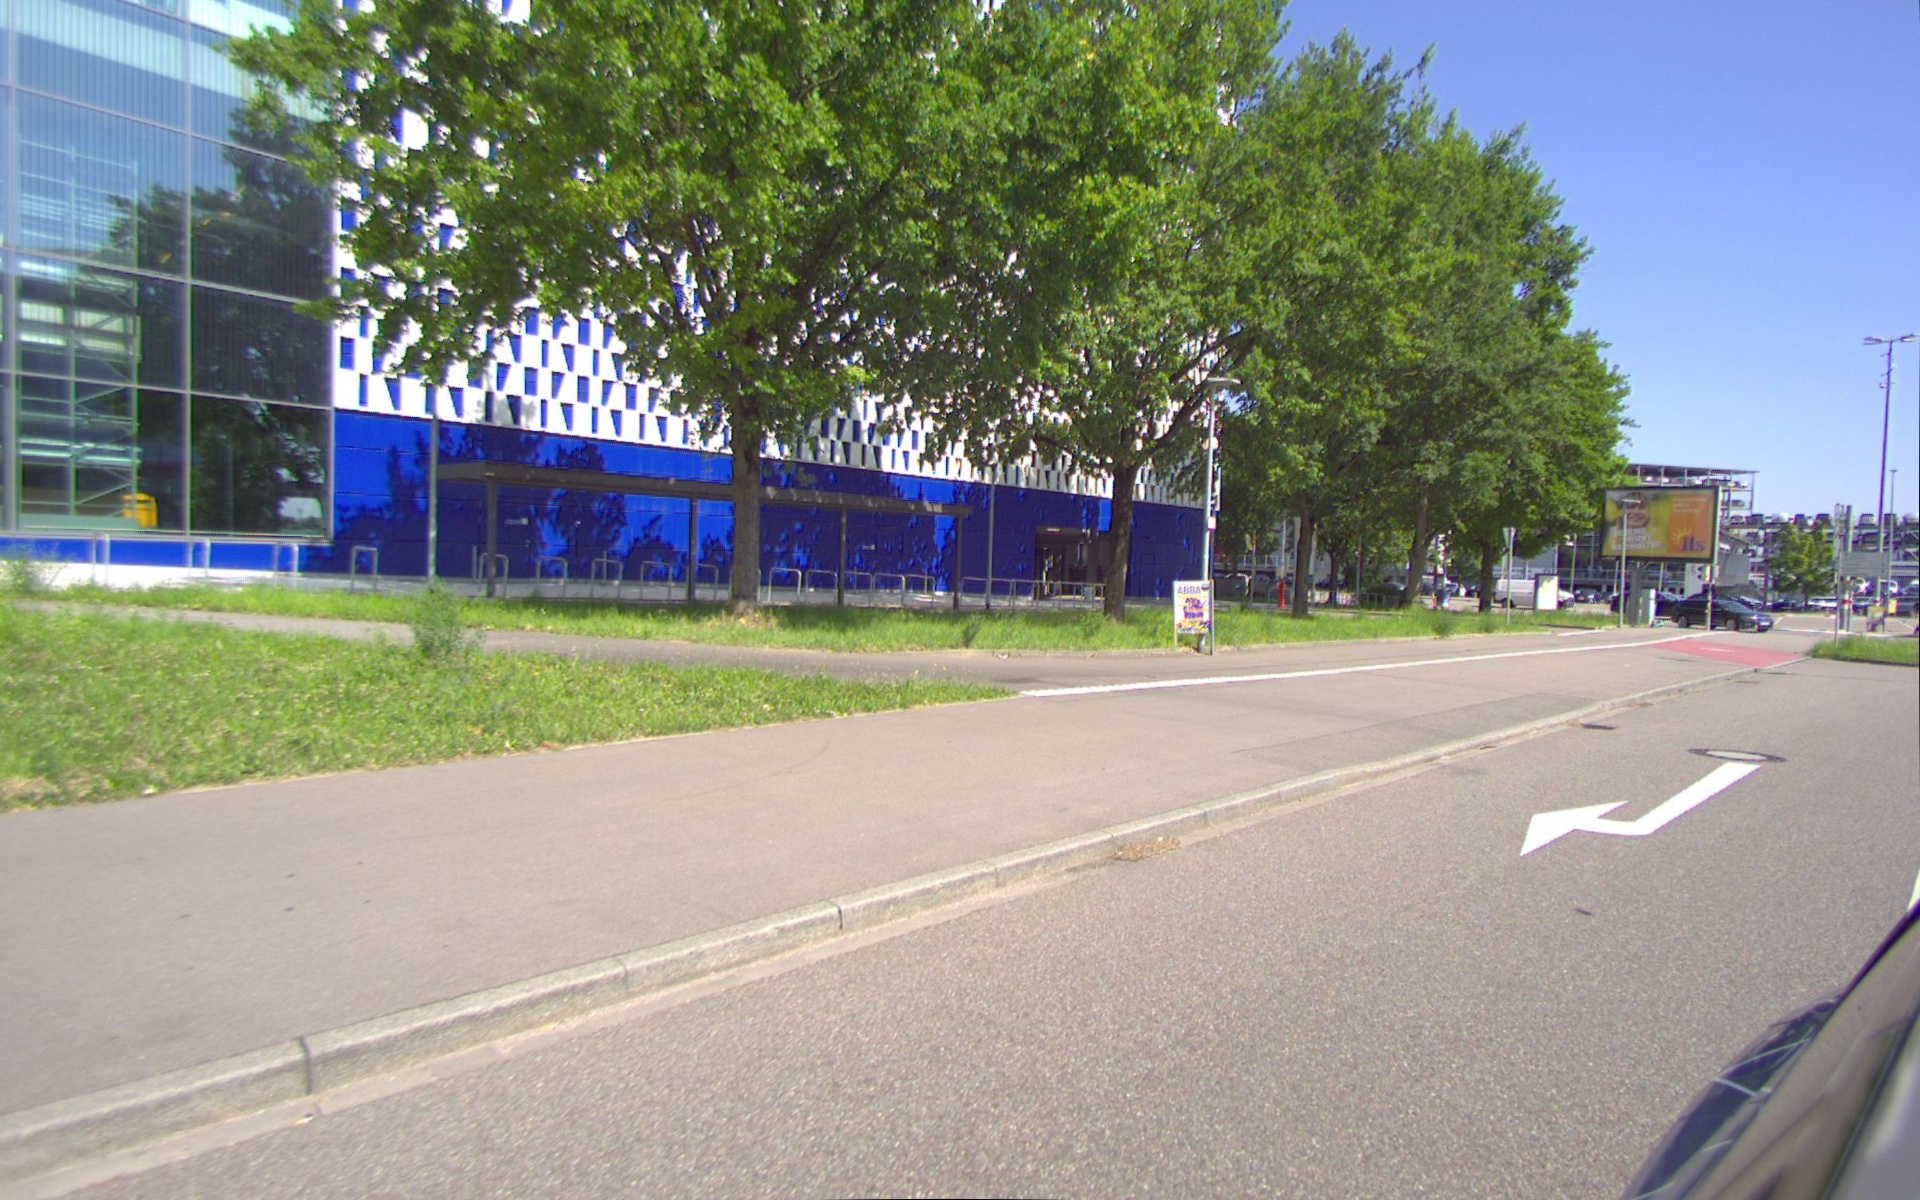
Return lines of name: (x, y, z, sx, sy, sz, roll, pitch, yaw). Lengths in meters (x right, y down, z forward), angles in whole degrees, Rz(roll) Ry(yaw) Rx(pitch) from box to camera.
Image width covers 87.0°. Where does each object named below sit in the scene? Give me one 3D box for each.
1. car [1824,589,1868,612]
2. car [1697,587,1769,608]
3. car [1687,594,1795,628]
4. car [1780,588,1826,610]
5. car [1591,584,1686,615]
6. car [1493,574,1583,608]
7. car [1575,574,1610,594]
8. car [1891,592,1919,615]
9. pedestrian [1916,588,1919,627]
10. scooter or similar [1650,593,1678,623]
car: (64.862, 0.004, 74.058, 3.931, 1.478, 1.886, -1, 3, -41)
car: (60.430, -0.214, 79.133, 4.337, 1.366, 1.793, 4, 3, 43)
car: (37.931, 0.501, 49.299, 1.736, 1.482, 4.244, 0, 2, -5)
car: (63.013, -0.092, 75.665, 3.930, 1.478, 1.998, 0, 3, -41)
car: (40.651, -0.044, 60.695, 4.488, 1.647, 1.689, 2, 3, 43)
car: (38.847, -0.662, 68.113, 4.984, 2.031, 1.714, 4, 4, 43)
car: (53.028, -1.311, 84.851, 1.881, 1.565, 3.830, 4, 3, 41)
car: (71.256, 0.295, 74.051, 1.947, 1.606, 4.472, 0, 3, -44)
pedestrian: (44.505, 0.376, 46.309, 0.939, 1.801, 0.708, 1, 2, -21)
scooter or similar: (27.930, 0.314, 40.160, 1.160, 1.181, 0.403, -1, 3, -29)
